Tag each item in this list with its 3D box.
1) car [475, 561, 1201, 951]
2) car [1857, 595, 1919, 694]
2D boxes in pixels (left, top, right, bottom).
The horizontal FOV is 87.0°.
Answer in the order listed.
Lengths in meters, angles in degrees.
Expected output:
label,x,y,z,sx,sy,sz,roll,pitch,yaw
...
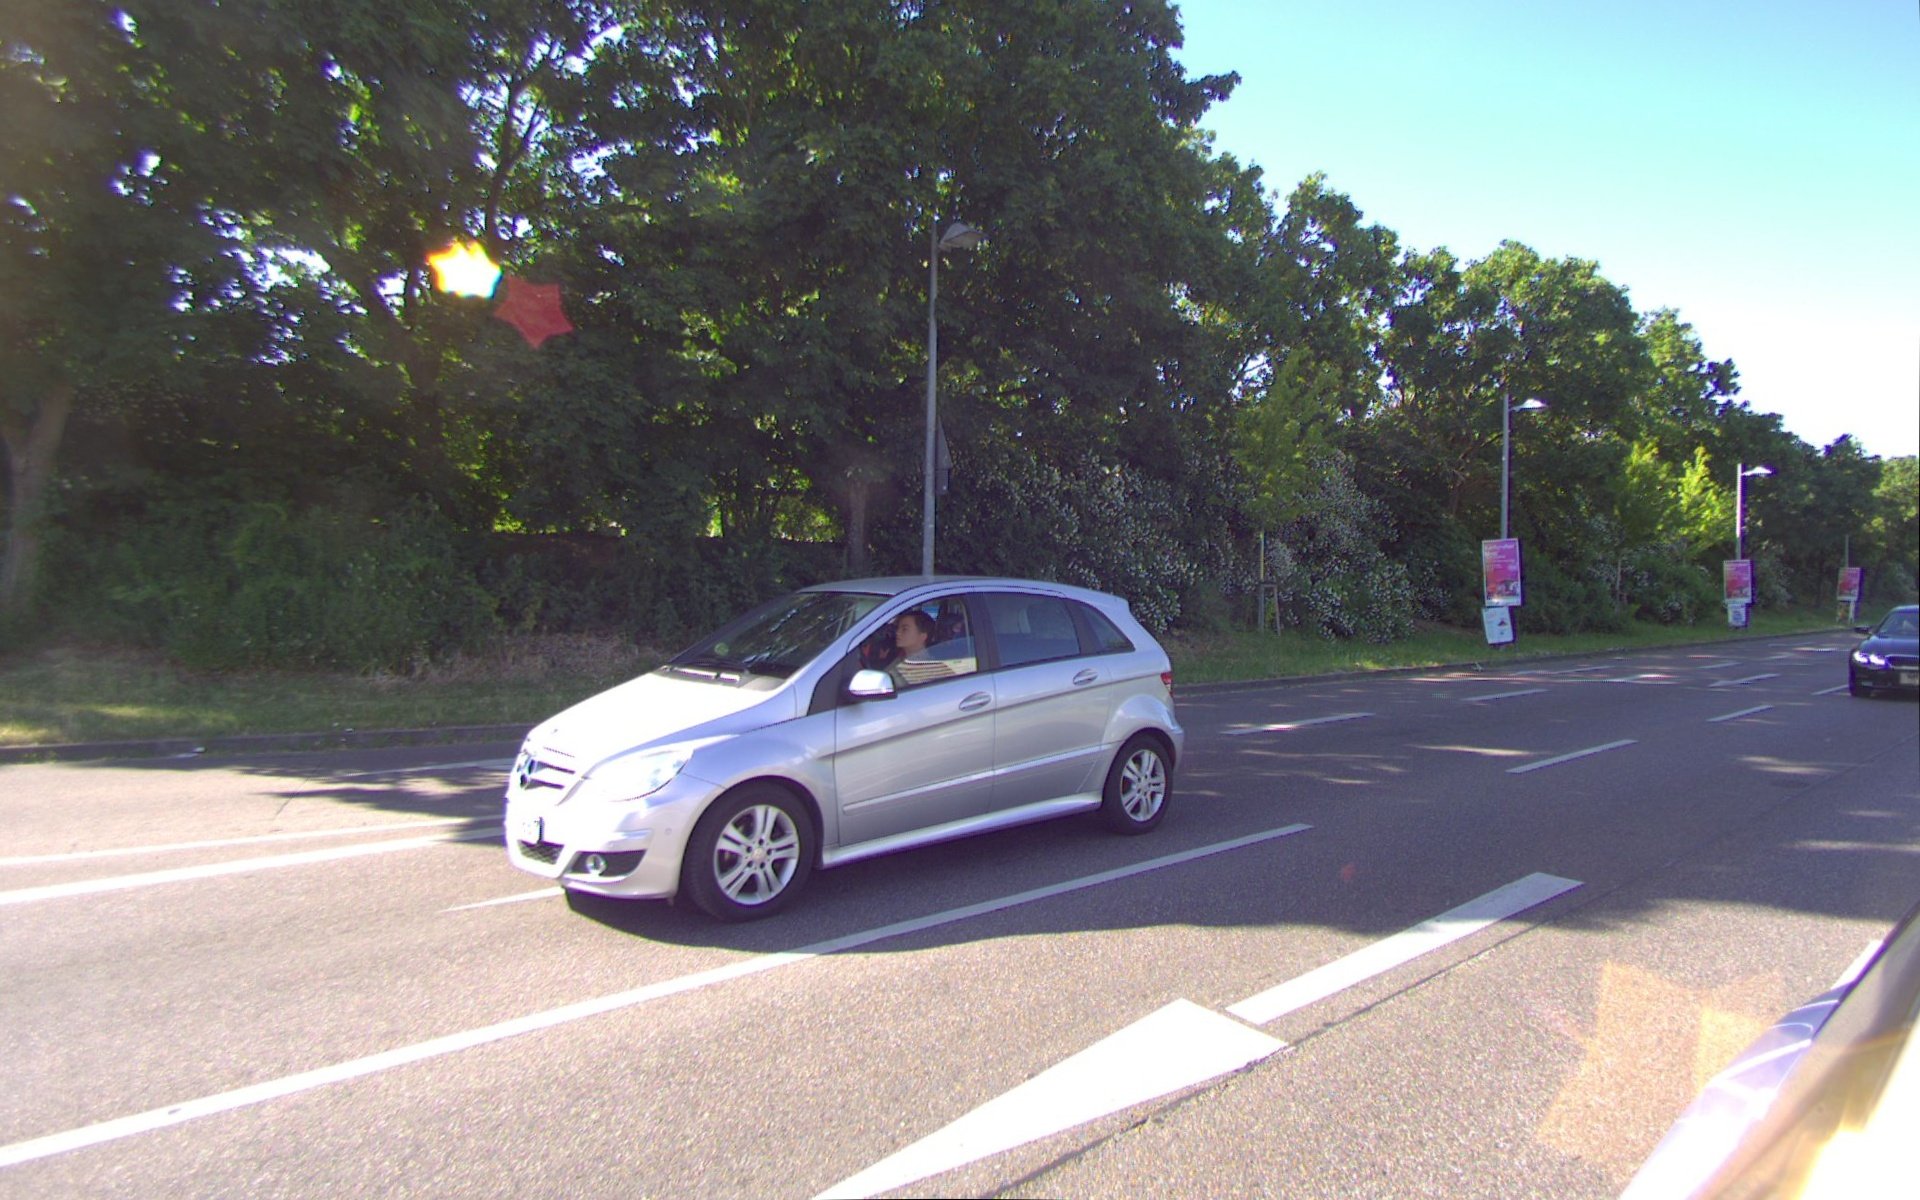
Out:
label,x,y,z,sx,sy,sz,roll,pitch,yaw
car,-0.493,0.594,5.965,3.988,1.559,1.672,0,1,-40
car,15.882,0.658,16.144,4.143,1.426,1.830,-1,1,-41
